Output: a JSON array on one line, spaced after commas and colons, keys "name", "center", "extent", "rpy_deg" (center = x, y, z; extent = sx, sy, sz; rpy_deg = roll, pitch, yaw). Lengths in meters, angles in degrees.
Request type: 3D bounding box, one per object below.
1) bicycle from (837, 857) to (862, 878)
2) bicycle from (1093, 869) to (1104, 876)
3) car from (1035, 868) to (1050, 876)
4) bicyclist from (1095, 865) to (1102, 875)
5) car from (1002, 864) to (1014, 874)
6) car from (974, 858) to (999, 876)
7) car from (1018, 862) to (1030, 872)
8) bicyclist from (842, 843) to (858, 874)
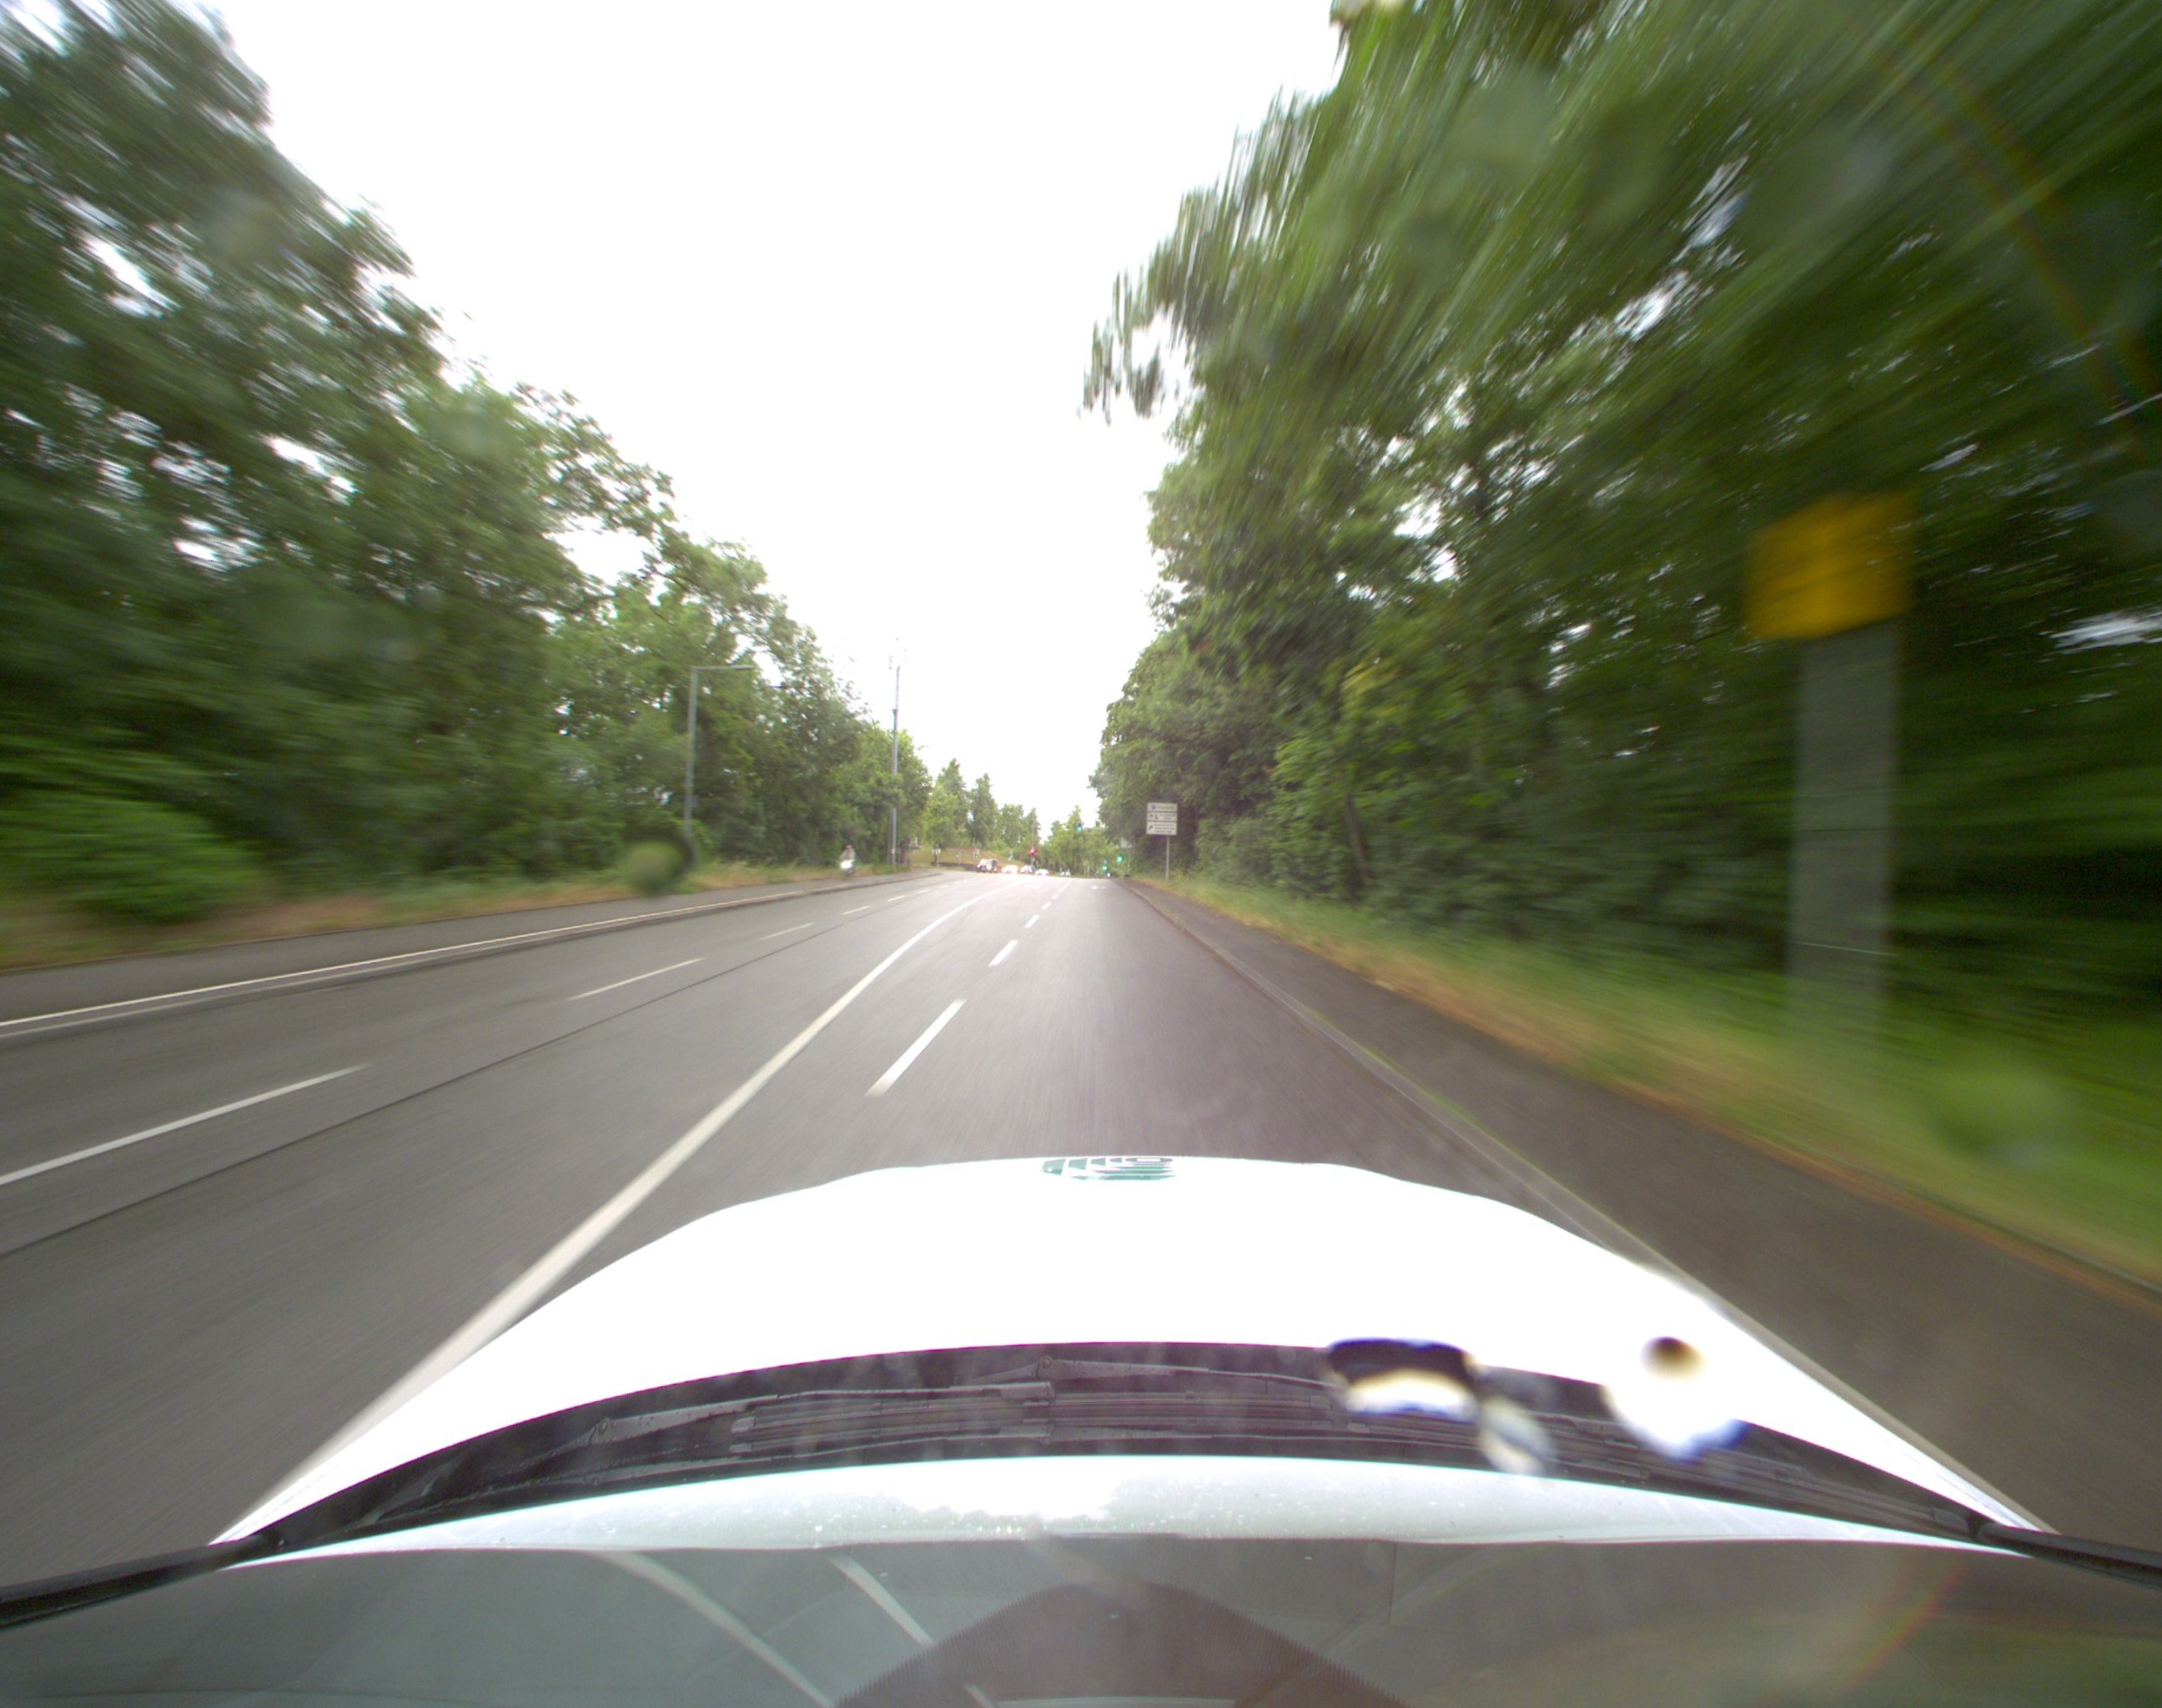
[{"name": "bicycle", "center": [-11.753, 0.689, 41.332], "extent": [0.450, 1.004, 2.021], "rpy_deg": [2, 0, 6]}, {"name": "bicycle", "center": [3.168, 3.361, 146.089], "extent": [2.151, 1.143, 0.547], "rpy_deg": [5, -3, -42]}, {"name": "car", "center": [-6.767, 3.203, 143.307], "extent": [1.866, 1.374, 4.390], "rpy_deg": [1, -1, 5]}, {"name": "bicyclist", "center": [3.119, 2.888, 146.064], "extent": [0.805, 1.753, 0.716], "rpy_deg": [6, -7, -42]}, {"name": "car", "center": [-10.795, 2.243, 120.000], "extent": [1.628, 1.394, 3.994], "rpy_deg": [1, -1, -4]}, {"name": "car", "center": [-12.229, 1.704, 105.501], "extent": [2.094, 1.946, 5.163], "rpy_deg": [6, -2, 3]}, {"name": "car", "center": [-8.173, 1.838, 116.304], "extent": [1.698, 1.427, 4.071], "rpy_deg": [2, -1, -5]}, {"name": "bicyclist", "center": [-11.739, 0.233, 41.400], "extent": [0.576, 1.586, 0.701], "rpy_deg": [0, -1, 6]}]
